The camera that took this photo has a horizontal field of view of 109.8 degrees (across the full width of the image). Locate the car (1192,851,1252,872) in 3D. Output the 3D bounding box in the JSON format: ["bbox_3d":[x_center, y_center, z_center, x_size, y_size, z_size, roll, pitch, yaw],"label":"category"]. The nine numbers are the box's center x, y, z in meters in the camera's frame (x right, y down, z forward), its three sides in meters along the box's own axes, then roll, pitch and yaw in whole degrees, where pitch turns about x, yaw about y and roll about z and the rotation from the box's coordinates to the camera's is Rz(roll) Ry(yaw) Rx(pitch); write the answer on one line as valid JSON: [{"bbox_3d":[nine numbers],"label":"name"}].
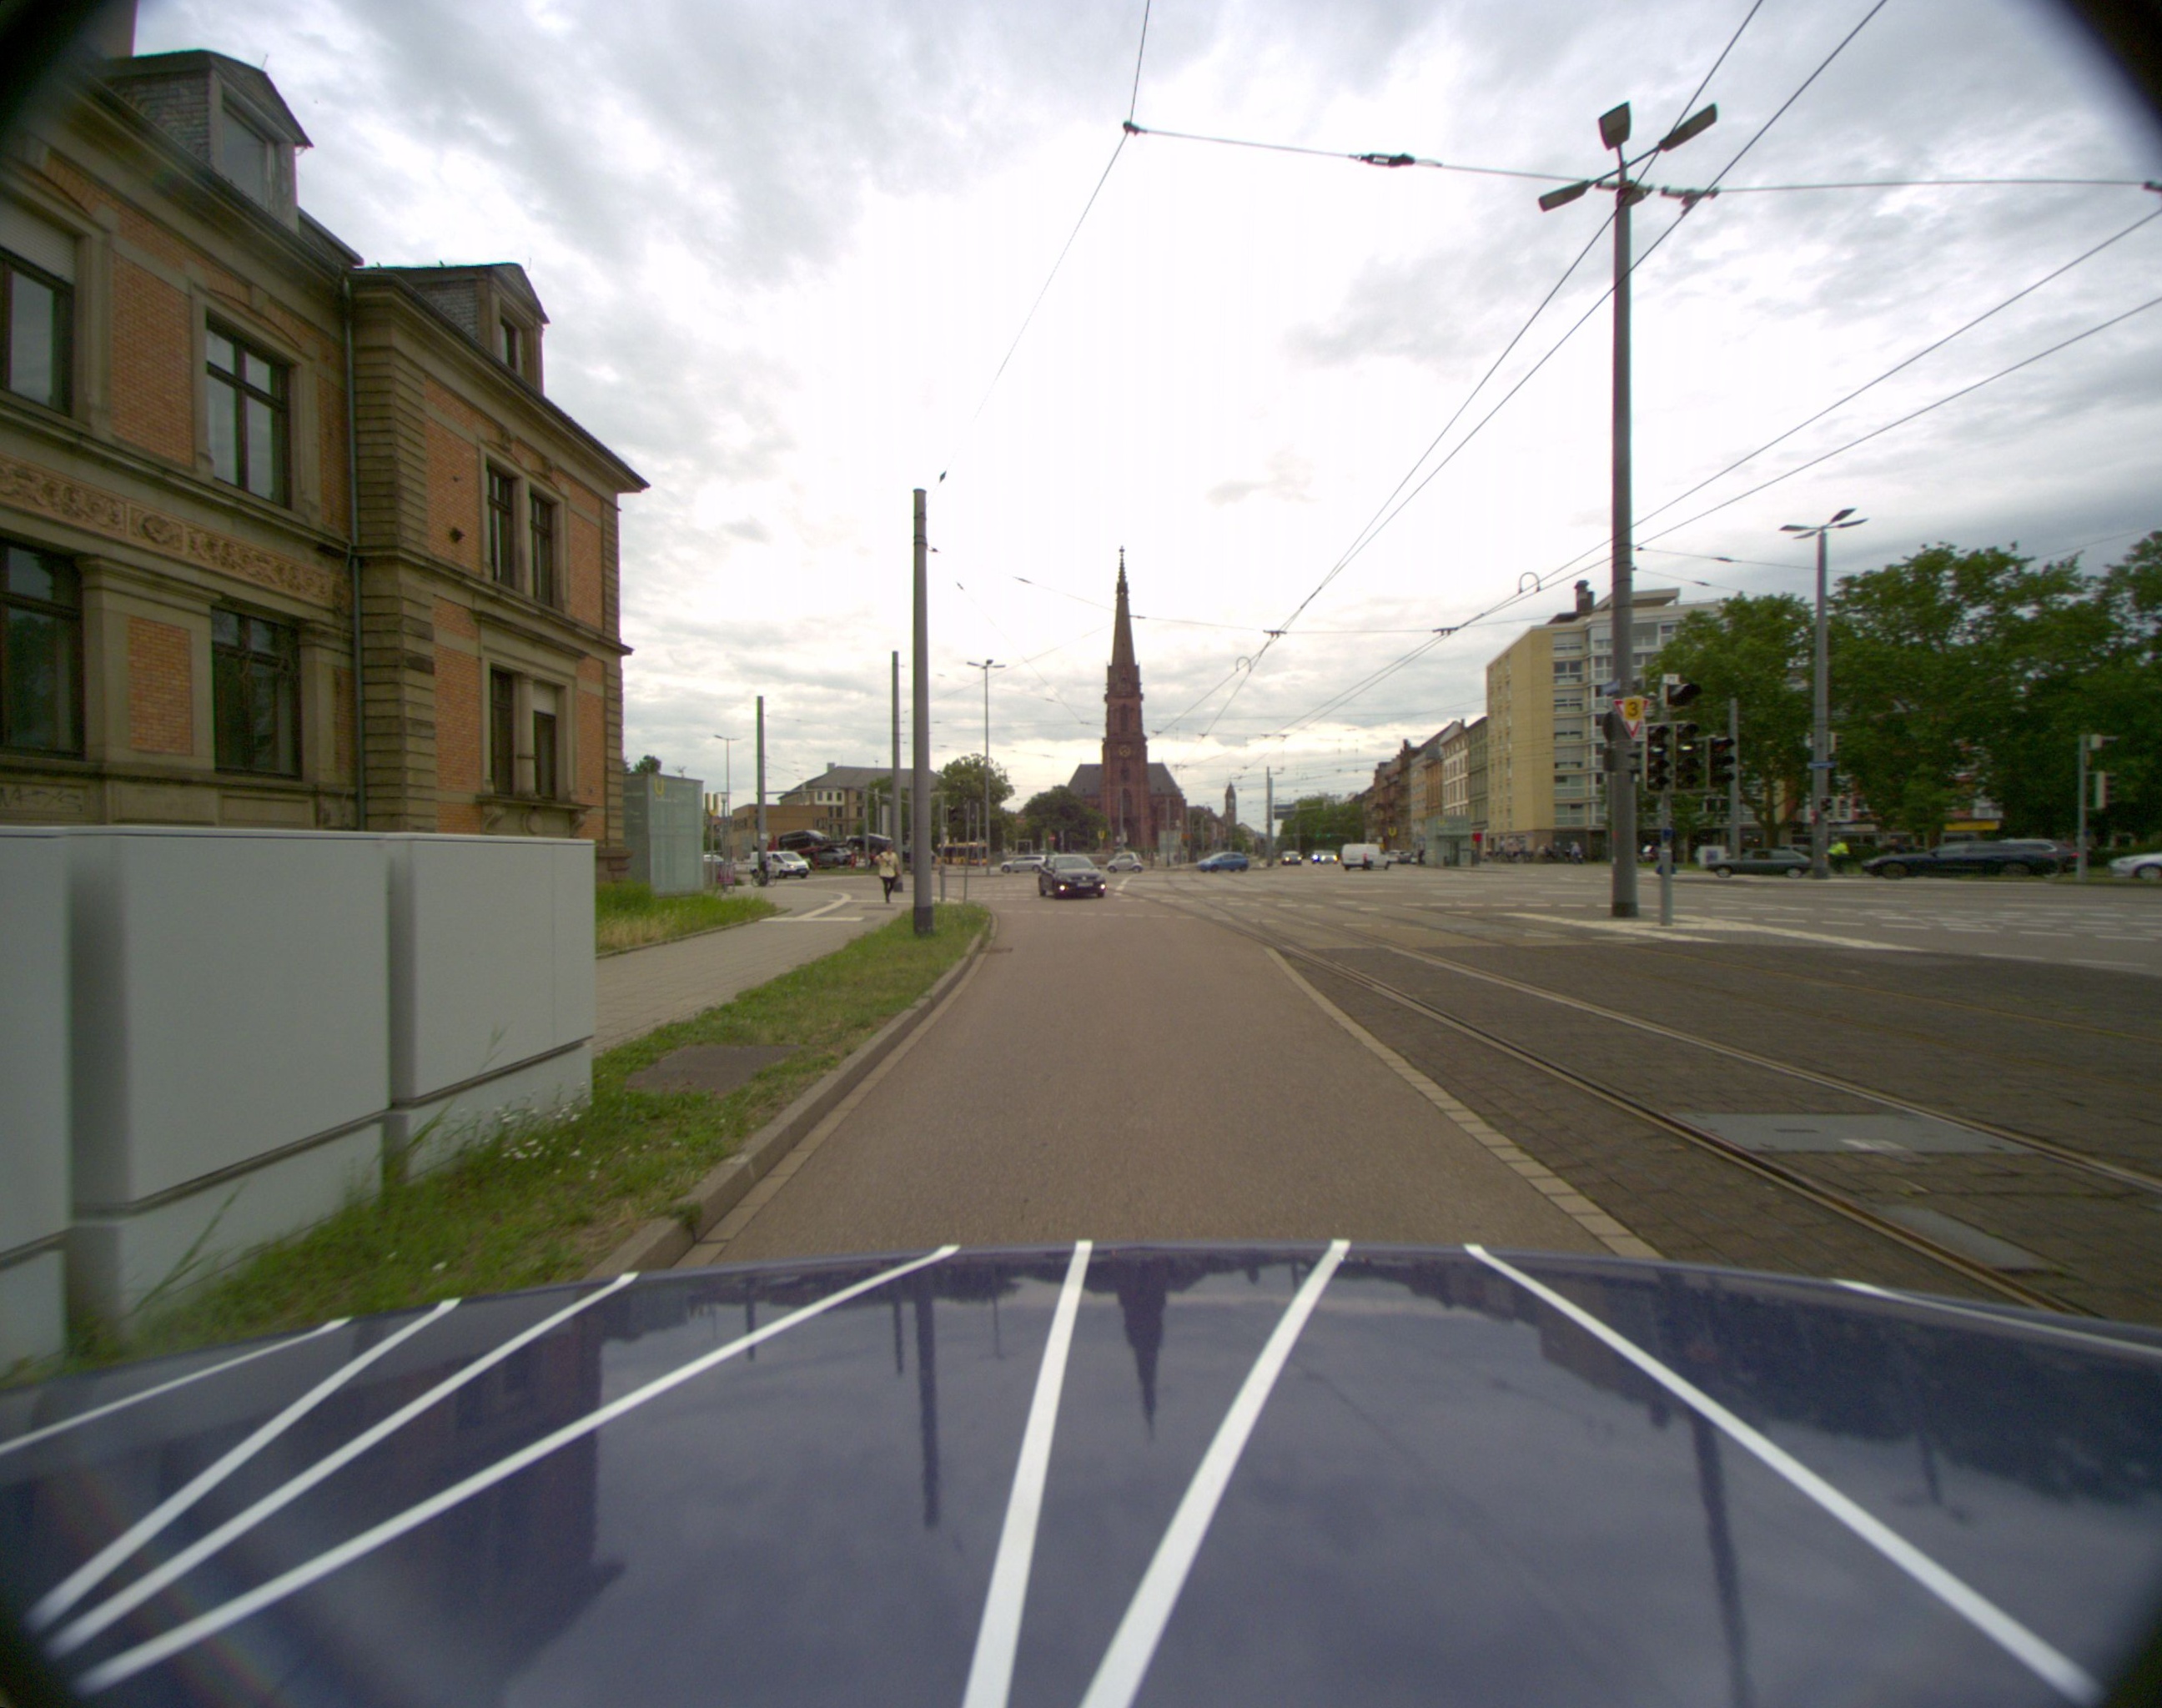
[{"bbox_3d":[10.646,0.576,57.373,4.063,1.484,1.996,-1,-1,-24],"label":"car"}]

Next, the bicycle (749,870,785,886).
[{"bbox_3d":[-17.597,1.344,42.633,0.765,0.835,1.830,0,-2,27],"label":"bicycle"}]

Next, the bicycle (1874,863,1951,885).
[{"bbox_3d":[35.943,0.844,32.877,0.521,0.921,2.217,-1,0,-40],"label":"bicycle"}]

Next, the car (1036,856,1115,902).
[{"bbox_3d":[-0.263,0.765,25.301,1.657,1.404,3.995,-1,0,-15],"label":"car"}]

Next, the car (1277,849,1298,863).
[{"bbox_3d":[24.110,0.202,88.916,1.997,1.521,4.003,-1,0,10],"label":"car"}]

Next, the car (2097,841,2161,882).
[{"bbox_3d":[38.520,0.237,26.366,1.644,1.412,3.727,-1,0,-44],"label":"car"}]

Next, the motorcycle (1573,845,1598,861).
[{"bbox_3d":[39.603,-0.070,59.680,0.863,1.171,2.550,-1,1,14],"label":"motorcycle"}]

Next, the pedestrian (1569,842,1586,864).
[{"bbox_3d":[38.008,-0.087,58.187,0.706,1.710,0.915,-1,2,2],"label":"pedestrian"}]

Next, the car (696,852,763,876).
[{"bbox_3d":[-27.455,0.795,59.332,4.740,1.838,2.094,-1,0,23],"label":"car"}]

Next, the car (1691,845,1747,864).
[{"bbox_3d":[54.931,0.030,65.481,1.997,1.543,4.003,-1,0,10],"label":"car"}]

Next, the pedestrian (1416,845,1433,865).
[{"bbox_3d":[30.992,0.059,68.626,1.178,1.774,1.041,-1,0,9],"label":"pedestrian"}]

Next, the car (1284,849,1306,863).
[{"bbox_3d":[23.035,0.217,82.056,1.997,1.433,4.003,-1,0,12],"label":"car"}]

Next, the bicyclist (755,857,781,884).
[{"bbox_3d":[-17.580,0.907,42.699,0.758,1.512,1.103,0,1,27],"label":"bicyclist"}]

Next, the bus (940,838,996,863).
[{"bbox_3d":[-14.827,-0.524,98.602,2.869,3.060,11.990,-2,2,-30],"label":"bus"}]

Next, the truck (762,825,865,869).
[{"bbox_3d":[-25.259,-0.602,71.573,10.428,3.898,3.020,0,2,30],"label":"truck"}]

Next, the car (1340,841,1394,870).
[{"bbox_3d":[21.013,0.073,55.693,1.918,1.872,5.099,1,2,43],"label":"car"}]

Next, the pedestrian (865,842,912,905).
[{"bbox_3d":[-5.863,0.580,23.132,0.889,1.856,1.283,-1,1,-41],"label":"pedestrian"}]

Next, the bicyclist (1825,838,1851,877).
[{"bbox_3d":[34.578,0.159,34.714,0.631,1.793,0.795,-1,1,-39],"label":"bicyclist"}]

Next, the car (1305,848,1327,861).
[{"bbox_3d":[27.916,0.054,90.471,1.997,1.521,4.003,-1,0,10],"label":"car"}]

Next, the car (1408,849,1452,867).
[{"bbox_3d":[36.986,0.373,80.539,4.004,1.745,2.077,-2,2,-20],"label":"car"}]

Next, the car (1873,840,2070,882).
[{"bbox_3d":[32.761,0.251,28.214,2.004,1.412,4.649,-1,0,-44],"label":"car"}]

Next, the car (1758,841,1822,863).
[{"bbox_3d":[58.751,-0.193,63.037,1.997,1.696,4.002,-1,1,10],"label":"car"}]

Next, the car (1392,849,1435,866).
[{"bbox_3d":[36.449,0.392,83.317,4.004,1.745,2.077,-2,2,-20],"label":"car"}]

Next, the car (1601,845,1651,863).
[{"bbox_3d":[47.556,-0.012,66.392,1.997,1.543,4.003,-1,0,10],"label":"car"}]

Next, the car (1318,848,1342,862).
[{"bbox_3d":[26.823,0.106,82.069,1.997,1.433,4.003,-1,0,12],"label":"car"}]

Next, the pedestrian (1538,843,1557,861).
[{"bbox_3d":[41.276,-0.166,67.218,1.039,1.630,1.332,-1,0,10],"label":"pedestrian"}]

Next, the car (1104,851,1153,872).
[{"bbox_3d":[3.675,0.562,58.188,3.616,1.485,2.001,-1,1,7],"label":"car"}]

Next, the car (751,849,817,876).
[{"bbox_3d":[-21.579,0.625,55.260,4.512,1.930,2.004,-1,0,29],"label":"car"}]

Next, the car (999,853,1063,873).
[{"bbox_3d":[-4.037,0.733,61.257,4.669,1.484,2.003,-2,-2,19],"label":"car"}]

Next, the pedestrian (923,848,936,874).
[{"bbox_3d":[-11.170,0.502,55.954,0.782,1.932,0.980,-1,1,-21],"label":"pedestrian"}]

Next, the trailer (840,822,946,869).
[{"bbox_3d":[-16.521,-0.715,66.520,9.527,3.951,3.002,0,2,31],"label":"trailer"}]

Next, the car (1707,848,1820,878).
[{"bbox_3d":[31.092,0.400,34.689,1.695,1.239,3.727,-1,0,-44],"label":"car"}]

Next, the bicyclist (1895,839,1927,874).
[{"bbox_3d":[35.905,0.104,32.872,0.569,1.499,0.854,-1,-1,-39],"label":"bicyclist"}]

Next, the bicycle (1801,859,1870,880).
[{"bbox_3d":[34.586,0.698,34.854,0.521,0.924,2.217,-1,0,-40],"label":"bicycle"}]
